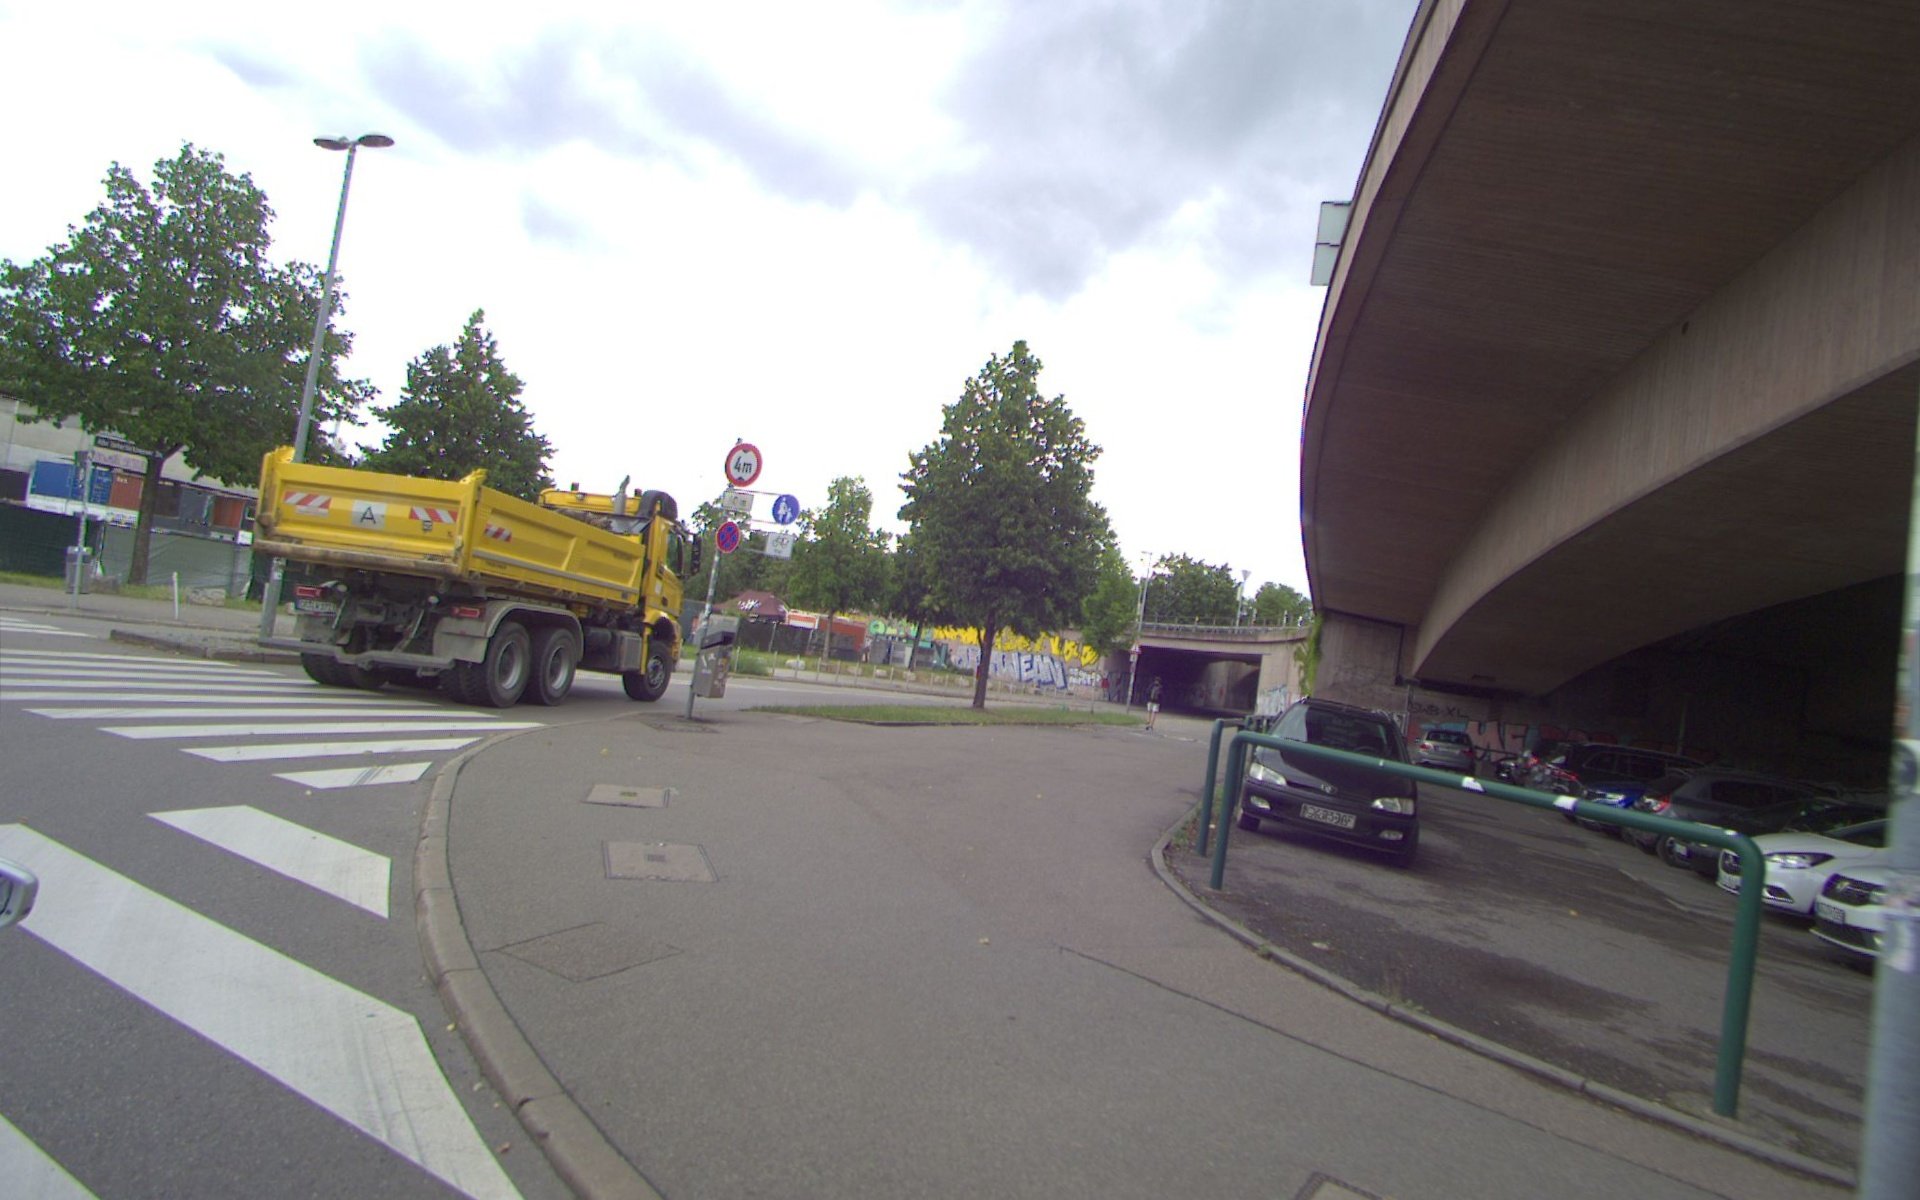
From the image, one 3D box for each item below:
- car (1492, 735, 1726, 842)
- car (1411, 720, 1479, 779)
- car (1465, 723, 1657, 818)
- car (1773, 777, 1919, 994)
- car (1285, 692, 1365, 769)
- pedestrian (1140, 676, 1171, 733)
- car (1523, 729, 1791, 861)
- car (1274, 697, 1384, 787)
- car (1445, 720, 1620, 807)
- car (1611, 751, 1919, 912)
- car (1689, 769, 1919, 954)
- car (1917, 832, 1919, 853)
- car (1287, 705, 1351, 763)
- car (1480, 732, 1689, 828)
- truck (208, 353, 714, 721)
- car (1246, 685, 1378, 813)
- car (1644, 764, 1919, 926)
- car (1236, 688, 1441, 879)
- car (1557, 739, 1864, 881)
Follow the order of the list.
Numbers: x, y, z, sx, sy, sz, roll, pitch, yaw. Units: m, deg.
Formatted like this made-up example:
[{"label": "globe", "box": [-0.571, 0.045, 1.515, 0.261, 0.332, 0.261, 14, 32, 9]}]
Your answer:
[{"label": "car", "box": [13.913, 4.019, 21.819, 3.789, 1.450, 1.761, 8, -2, 17]}, {"label": "car", "box": [15.705, 4.783, 32.549, 1.719, 1.515, 4.001, 7, -3, 27]}, {"label": "car", "box": [15.531, 4.375, 26.219, 3.789, 1.656, 1.761, 8, -2, 17]}, {"label": "car", "box": [9.577, 2.674, 8.350, 3.937, 1.569, 1.641, 8, -2, 20]}, {"label": "car", "box": [9.264, 3.277, 25.754, 1.587, 1.552, 4.076, 8, -3, 19]}, {"label": "pedestrian", "box": [7.102, 3.788, 36.534, 0.723, 1.928, 0.826, 7, -2, 20]}, {"label": "car", "box": [13.483, 3.729, 19.727, 3.789, 1.713, 1.761, 8, -2, 17]}, {"label": "car", "box": [7.525, 2.829, 20.485, 1.739, 1.335, 4.380, 8, -3, 21]}, {"label": "car", "box": [15.978, 4.527, 28.274, 3.789, 1.656, 1.761, 8, -2, 17]}, {"label": "car", "box": [12.434, 3.465, 15.289, 3.789, 1.573, 1.701, 8, -2, 17]}, {"label": "car", "box": [10.658, 3.021, 11.050, 3.789, 1.526, 1.701, 8, -2, 17]}, {"label": "car", "box": [27.791, 6.181, 26.157, 3.596, 1.808, 1.885, 8, -2, 23]}, {"label": "car", "box": [11.106, 4.102, 31.027, 1.550, 1.455, 3.381, 8, -3, 22]}, {"label": "car", "box": [14.830, 4.251, 24.117, 3.789, 1.454, 1.761, 8, -2, 17]}, {"label": "truck", "box": [-6.463, -0.480, 15.003, 2.715, 3.739, 7.892, 7, -3, 4]}, {"label": "car", "box": [5.496, 2.239, 15.615, 1.482, 1.435, 4.255, 9, -3, 21]}, {"label": "car", "box": [11.704, 3.309, 13.418, 3.789, 1.459, 1.701, 8, -2, 17]}, {"label": "car", "box": [3.950, 1.767, 10.417, 1.483, 1.344, 3.704, 9, -3, 23]}, {"label": "car", "box": [12.928, 3.579, 17.611, 3.789, 1.573, 1.761, 8, -2, 17]}]
